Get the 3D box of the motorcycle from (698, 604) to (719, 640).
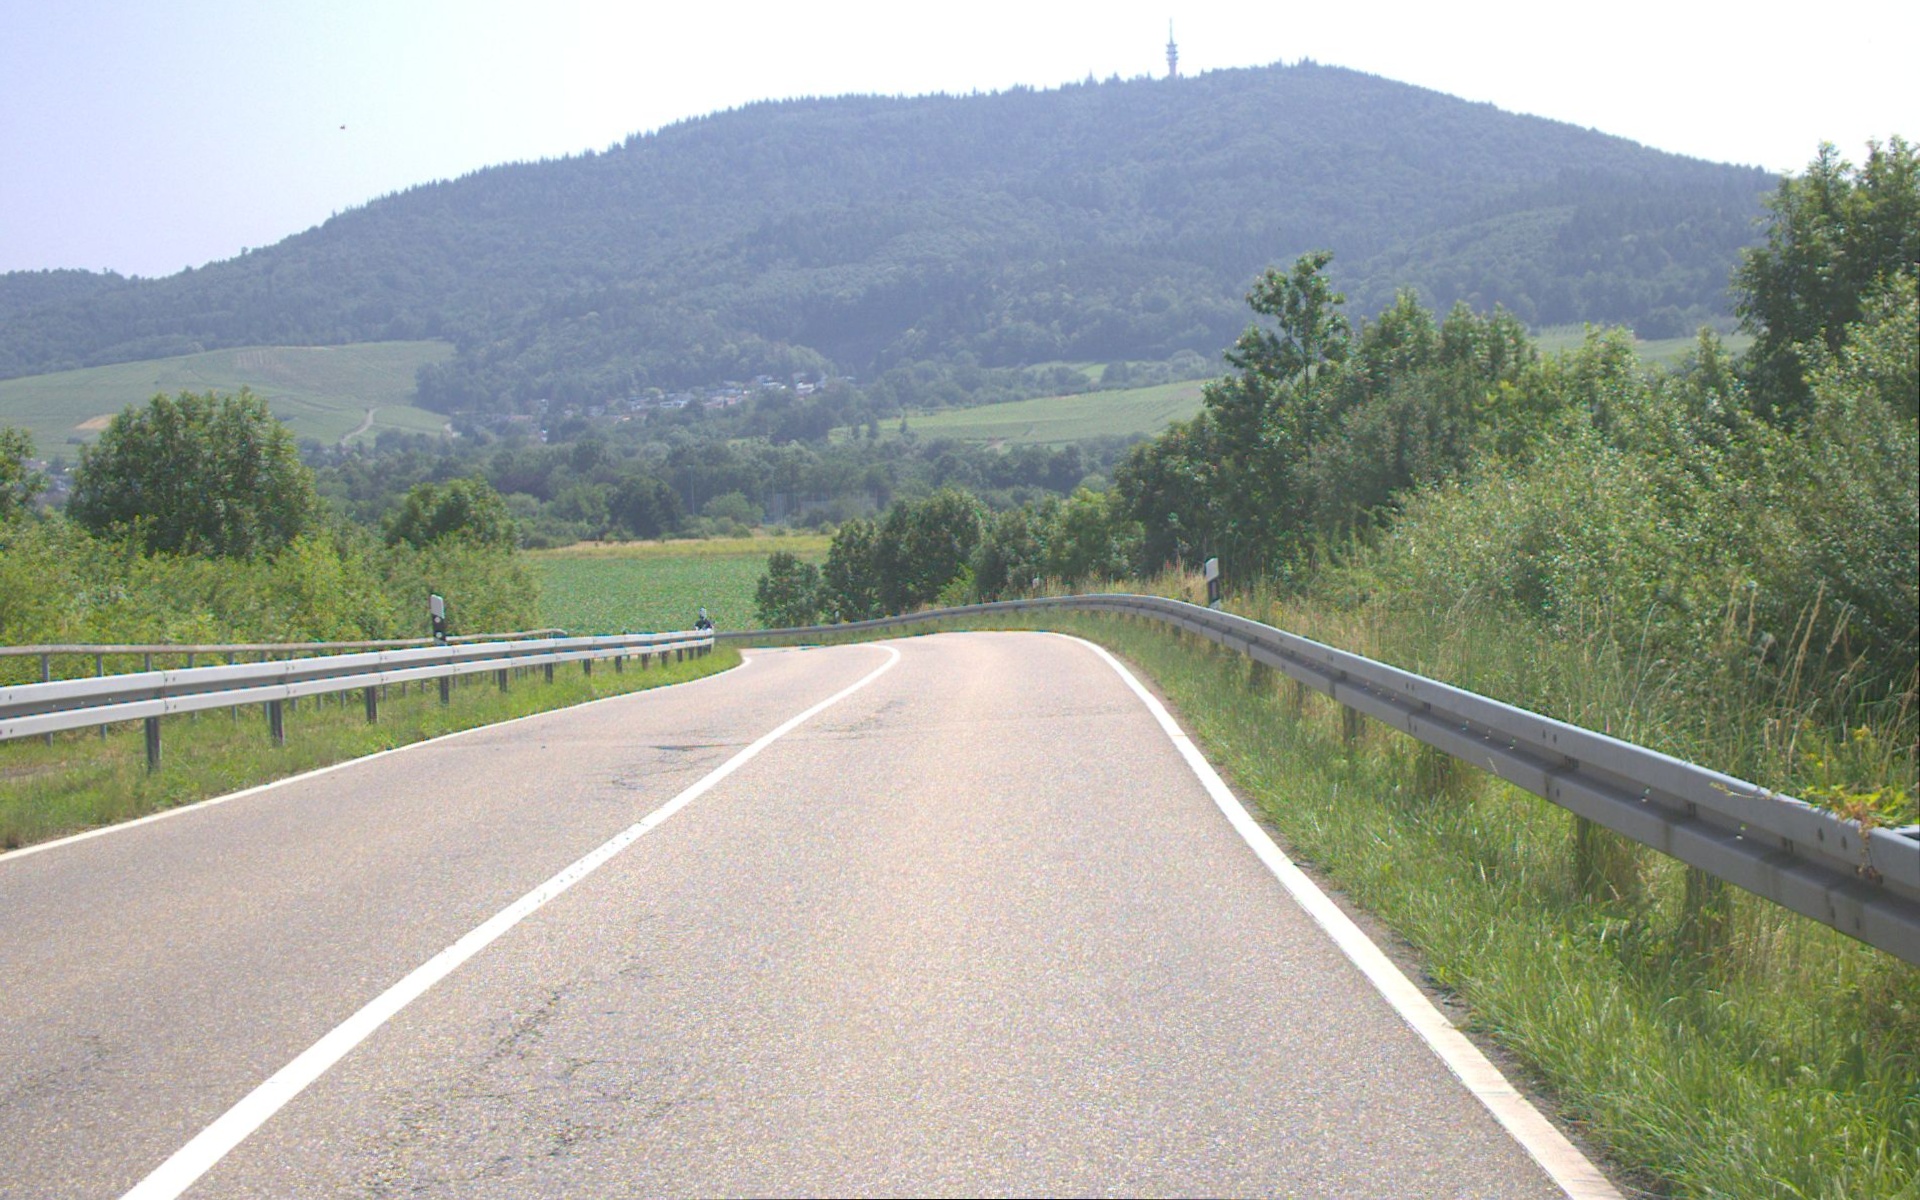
[{"bbox_3d":[-9.059,0.800,123.833,0.643,1.219,1.638,-6,0,-5],"label":"motorcycle"}]
